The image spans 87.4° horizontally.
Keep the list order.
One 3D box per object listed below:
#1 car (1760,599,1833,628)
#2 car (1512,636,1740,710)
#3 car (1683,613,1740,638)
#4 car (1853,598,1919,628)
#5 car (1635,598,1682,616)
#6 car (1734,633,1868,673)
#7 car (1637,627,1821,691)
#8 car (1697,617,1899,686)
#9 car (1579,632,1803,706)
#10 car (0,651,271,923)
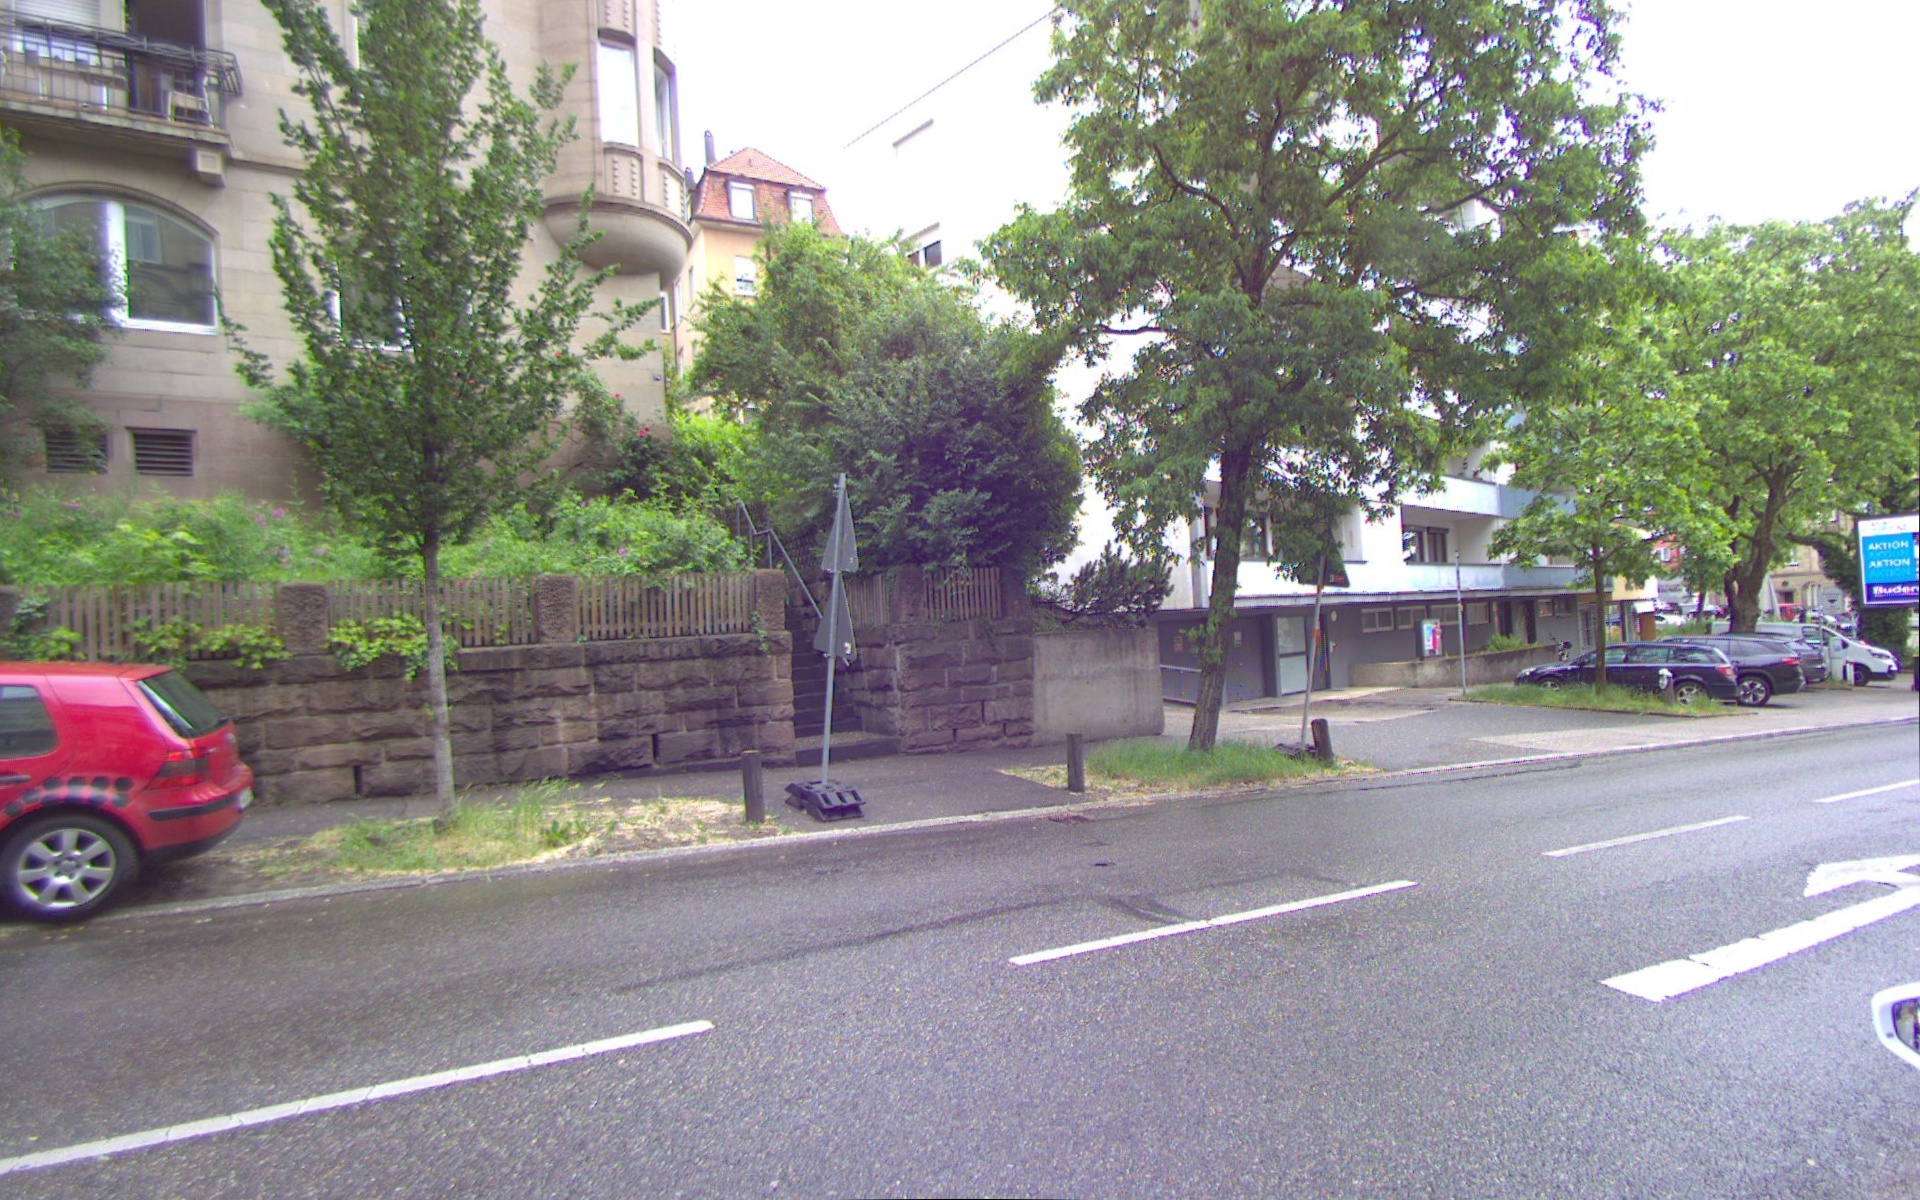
[{"bbox_3d":[65.504,1.085,78.752,1.965,2.040,3.992,0,-3,-13],"label":"car"},{"bbox_3d":[15.672,1.707,23.757,4.303,1.594,1.935,-3,-4,38],"label":"car"},{"bbox_3d":[68.759,2.325,91.975,1.961,2.130,4.291,-1,1,-1],"label":"car"},{"bbox_3d":[69.414,0.933,74.813,1.961,2.130,4.291,-1,1,-1],"label":"car"},{"bbox_3d":[68.602,0.686,98.737,1.694,1.711,3.999,2,0,-2],"label":"car"},{"bbox_3d":[32.761,2.052,39.248,3.925,1.469,1.761,-2,-3,40],"label":"car"},{"bbox_3d":[23.307,1.744,30.570,4.305,1.807,1.931,-2,-3,40],"label":"car"},{"bbox_3d":[27.722,1.680,33.457,5.000,2.132,1.983,-2,-3,40],"label":"car"},{"bbox_3d":[18.057,1.703,24.993,4.312,1.694,1.848,-3,-4,38],"label":"car"},{"bbox_3d":[-6.529,1.061,5.824,4.015,1.470,1.606,1,-2,-30],"label":"car"}]
